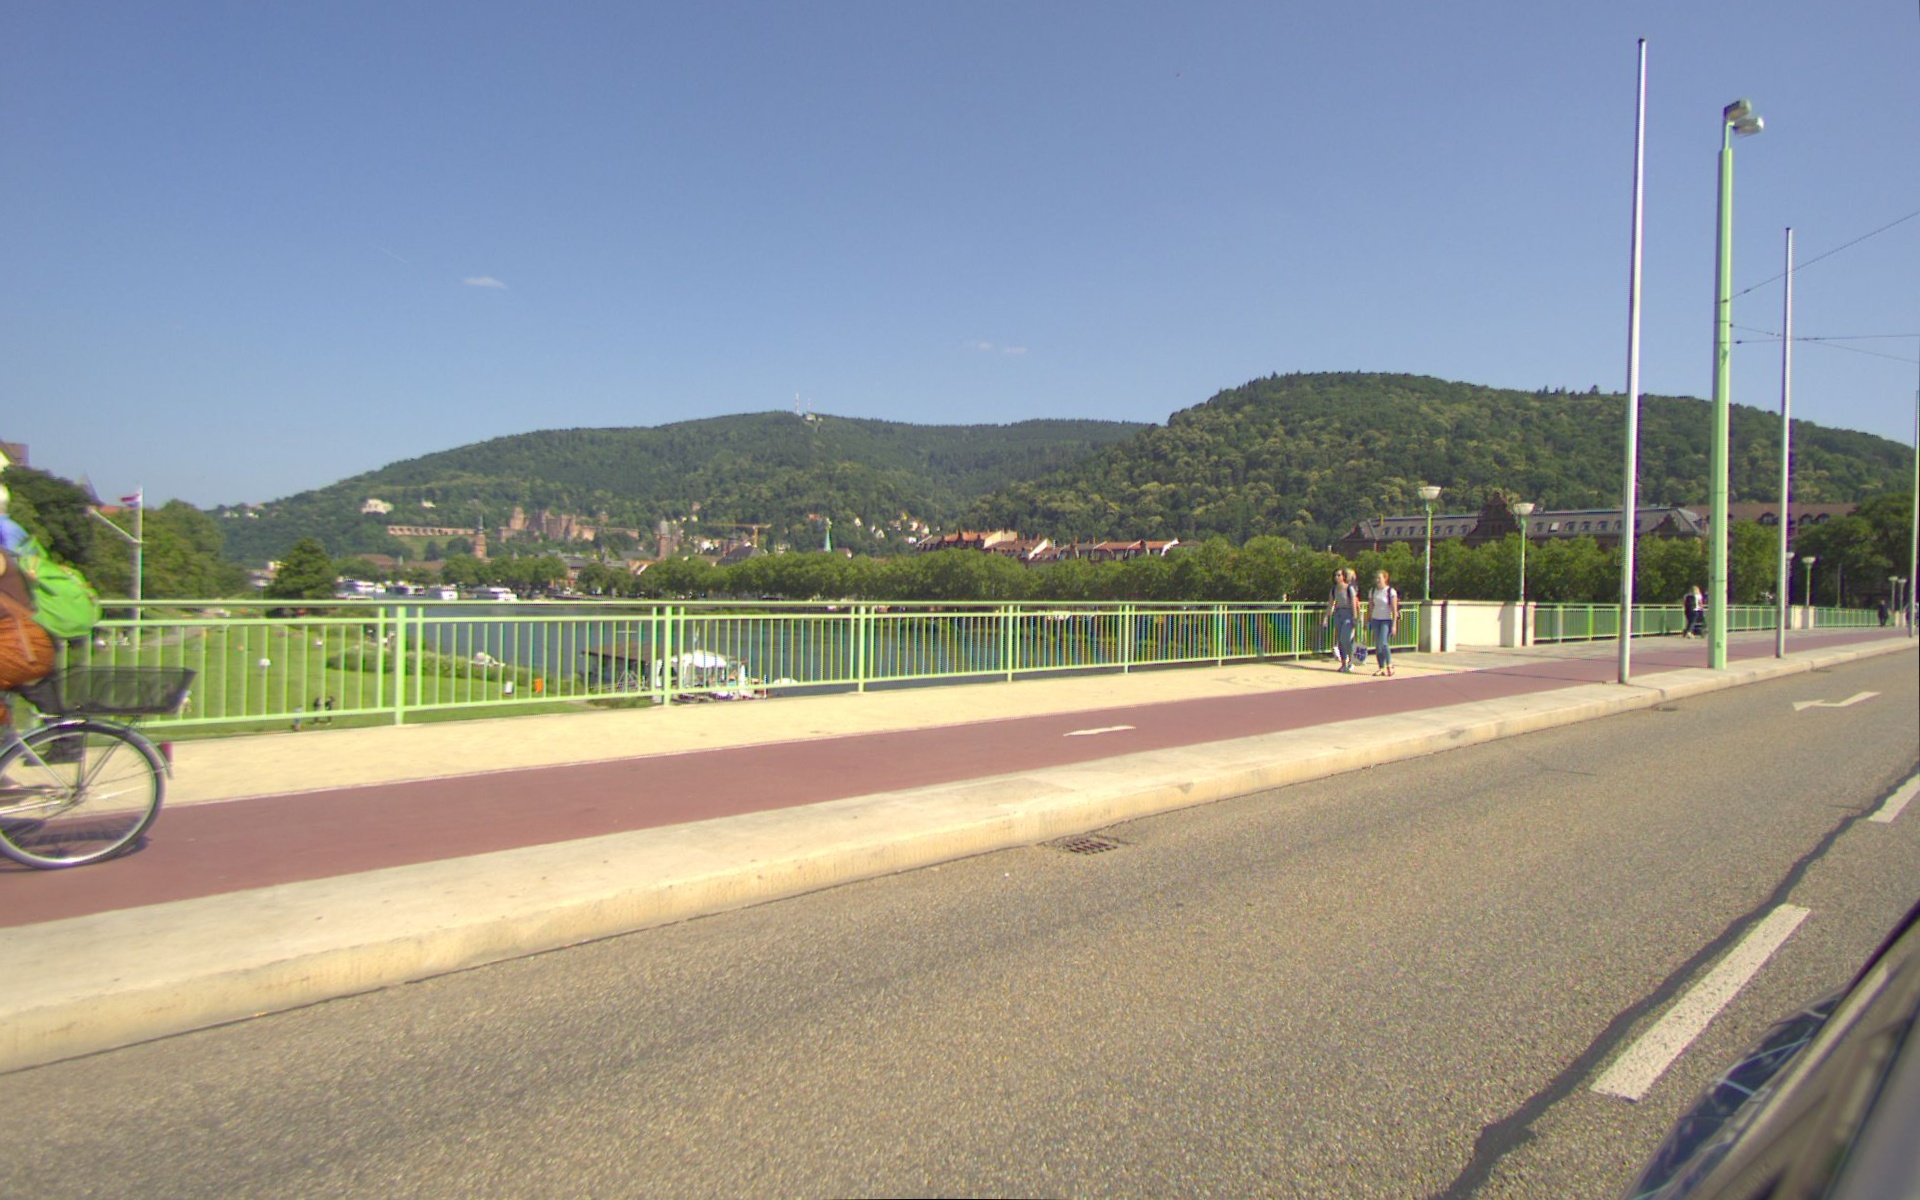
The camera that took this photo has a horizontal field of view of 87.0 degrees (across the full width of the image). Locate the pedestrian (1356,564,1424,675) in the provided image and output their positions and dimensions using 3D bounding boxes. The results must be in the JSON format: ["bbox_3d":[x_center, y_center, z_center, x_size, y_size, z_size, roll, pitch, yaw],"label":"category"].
[{"bbox_3d":[6.743,0.281,15.871,0.811,1.679,0.664,0,2,-41],"label":"pedestrian"}]

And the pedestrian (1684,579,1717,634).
[{"bbox_3d":[23.887,0.202,32.646,0.844,1.727,0.664,0,2,-41],"label":"pedestrian"}]

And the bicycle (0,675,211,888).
[{"bbox_3d":[-4.257,0.770,4.179,1.834,0.775,0.595,0,2,-41],"label":"bicycle"}]

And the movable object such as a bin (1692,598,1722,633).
[{"bbox_3d":[24.514,0.497,33.201,0.917,1.104,0.583,0,2,-42],"label":"movable object such as a bin"}]

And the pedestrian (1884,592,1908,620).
[{"bbox_3d":[58.917,0.393,63.706,1.063,1.683,0.949,0,2,-41],"label":"pedestrian"}]

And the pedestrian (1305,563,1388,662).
[{"bbox_3d":[6.892,0.203,18.045,1.063,1.683,0.949,0,2,-41],"label":"pedestrian"}]

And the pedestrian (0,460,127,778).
[{"bbox_3d":[-6.080,0.099,6.488,1.117,1.921,0.927,0,1,-41],"label":"pedestrian"}]

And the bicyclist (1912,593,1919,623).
[{"bbox_3d":[54.471,0.448,57.320,0.829,1.686,0.731,0,0,-40],"label":"bicyclist"}]

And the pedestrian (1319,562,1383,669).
[{"bbox_3d":[6.338,0.229,16.422,0.733,1.679,0.668,0,2,-41],"label":"pedestrian"}]

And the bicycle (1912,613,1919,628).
[{"bbox_3d":[54.588,1.170,57.421,1.834,0.775,0.595,0,2,-41],"label":"bicycle"}]

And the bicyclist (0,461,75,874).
[{"bbox_3d":[-4.169,0.264,4.225,0.689,1.671,0.606,0,2,-40],"label":"bicyclist"}]
